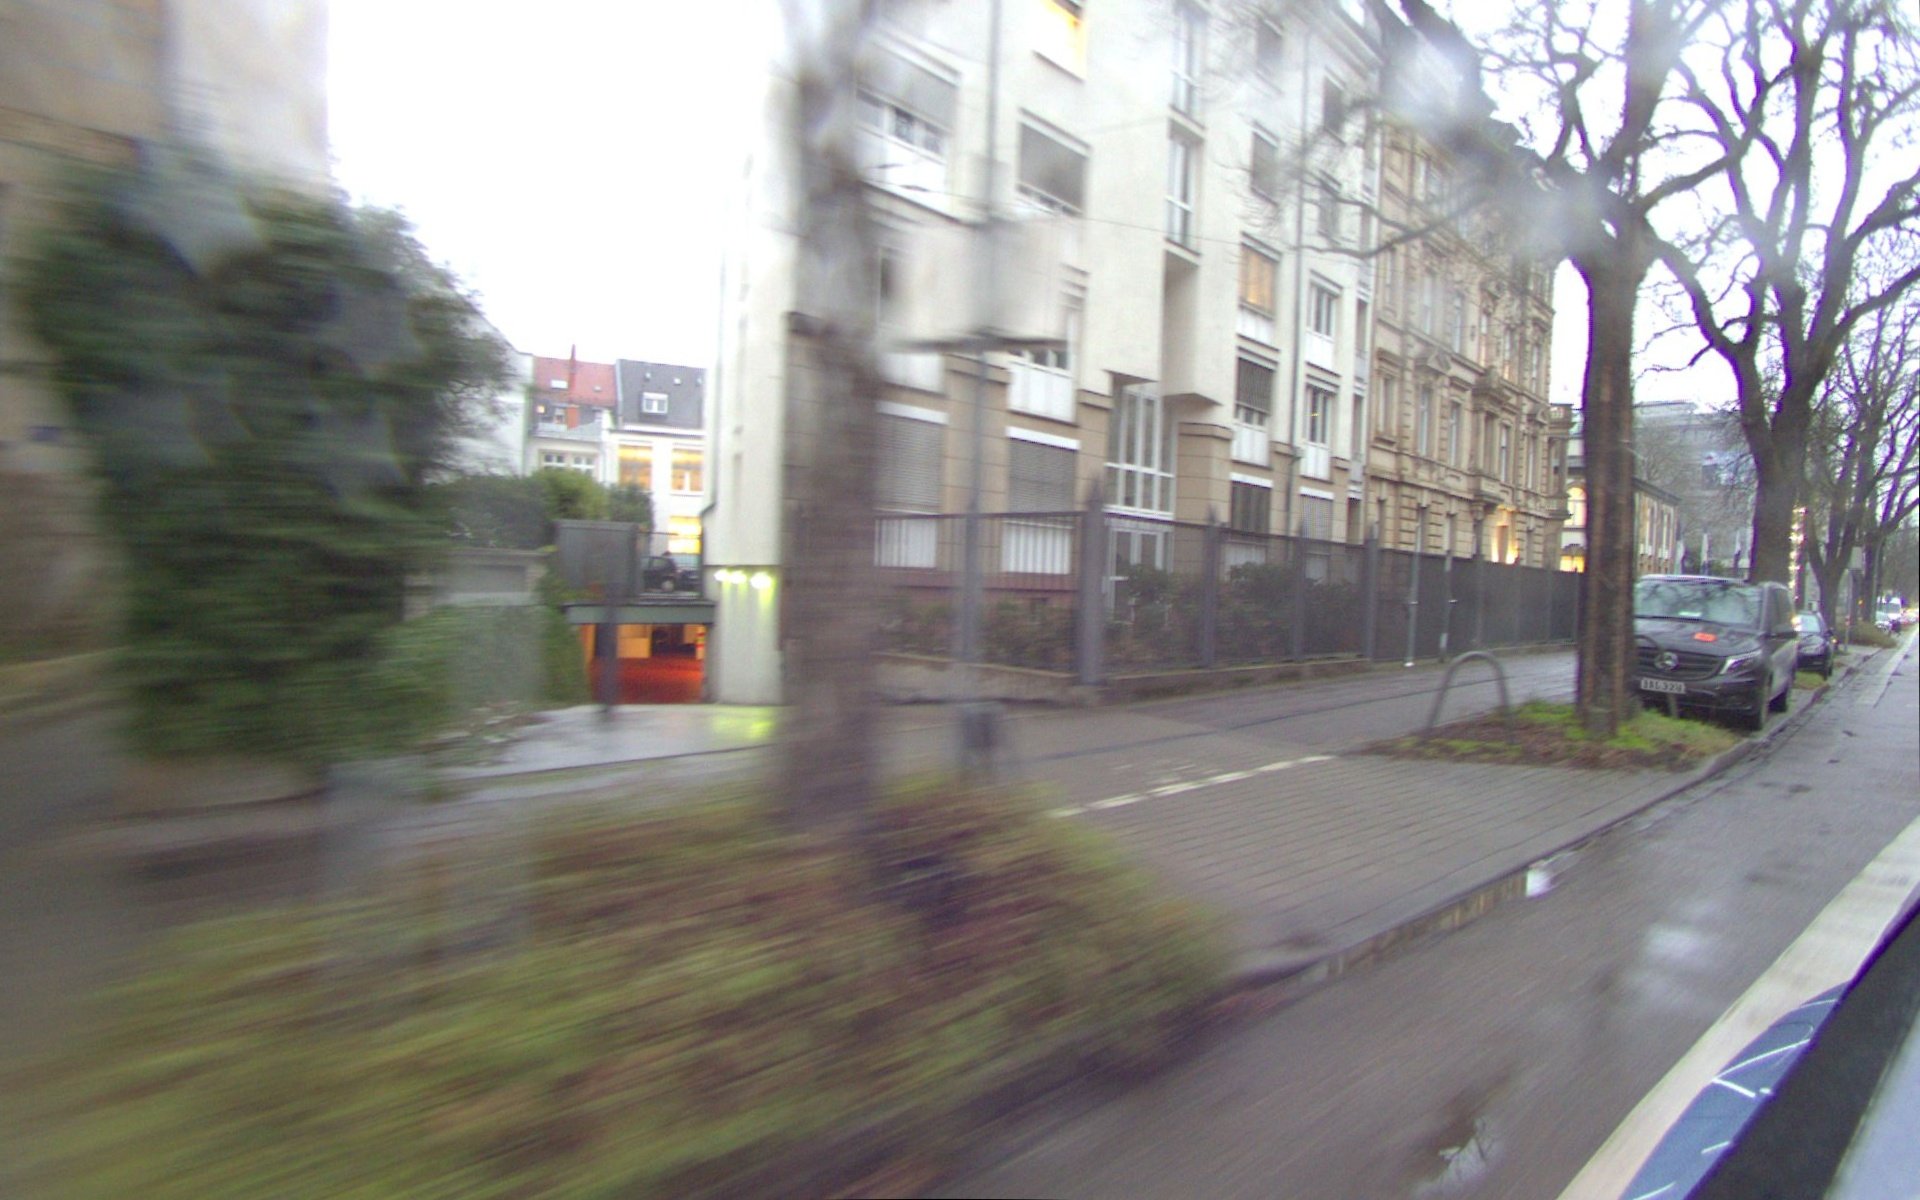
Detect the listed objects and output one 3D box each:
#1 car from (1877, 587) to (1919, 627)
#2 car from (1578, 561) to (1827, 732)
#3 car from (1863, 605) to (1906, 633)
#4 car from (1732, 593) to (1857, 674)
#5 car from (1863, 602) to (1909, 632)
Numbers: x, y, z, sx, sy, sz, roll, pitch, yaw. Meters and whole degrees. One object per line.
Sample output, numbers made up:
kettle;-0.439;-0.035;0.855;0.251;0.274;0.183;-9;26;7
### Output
car;65.094;0.444;70.181;2.086;2.670;5.368;2;2;41
car;10.413;0.519;14.032;2.032;1.898;4.883;4;3;45
car;51.158;1.024;56.041;1.623;1.425;3.940;2;2;41
car;18.310;0.685;22.141;1.758;1.463;4.092;6;3;43
car;58.036;1.051;63.471;1.992;1.702;3.940;2;2;41
